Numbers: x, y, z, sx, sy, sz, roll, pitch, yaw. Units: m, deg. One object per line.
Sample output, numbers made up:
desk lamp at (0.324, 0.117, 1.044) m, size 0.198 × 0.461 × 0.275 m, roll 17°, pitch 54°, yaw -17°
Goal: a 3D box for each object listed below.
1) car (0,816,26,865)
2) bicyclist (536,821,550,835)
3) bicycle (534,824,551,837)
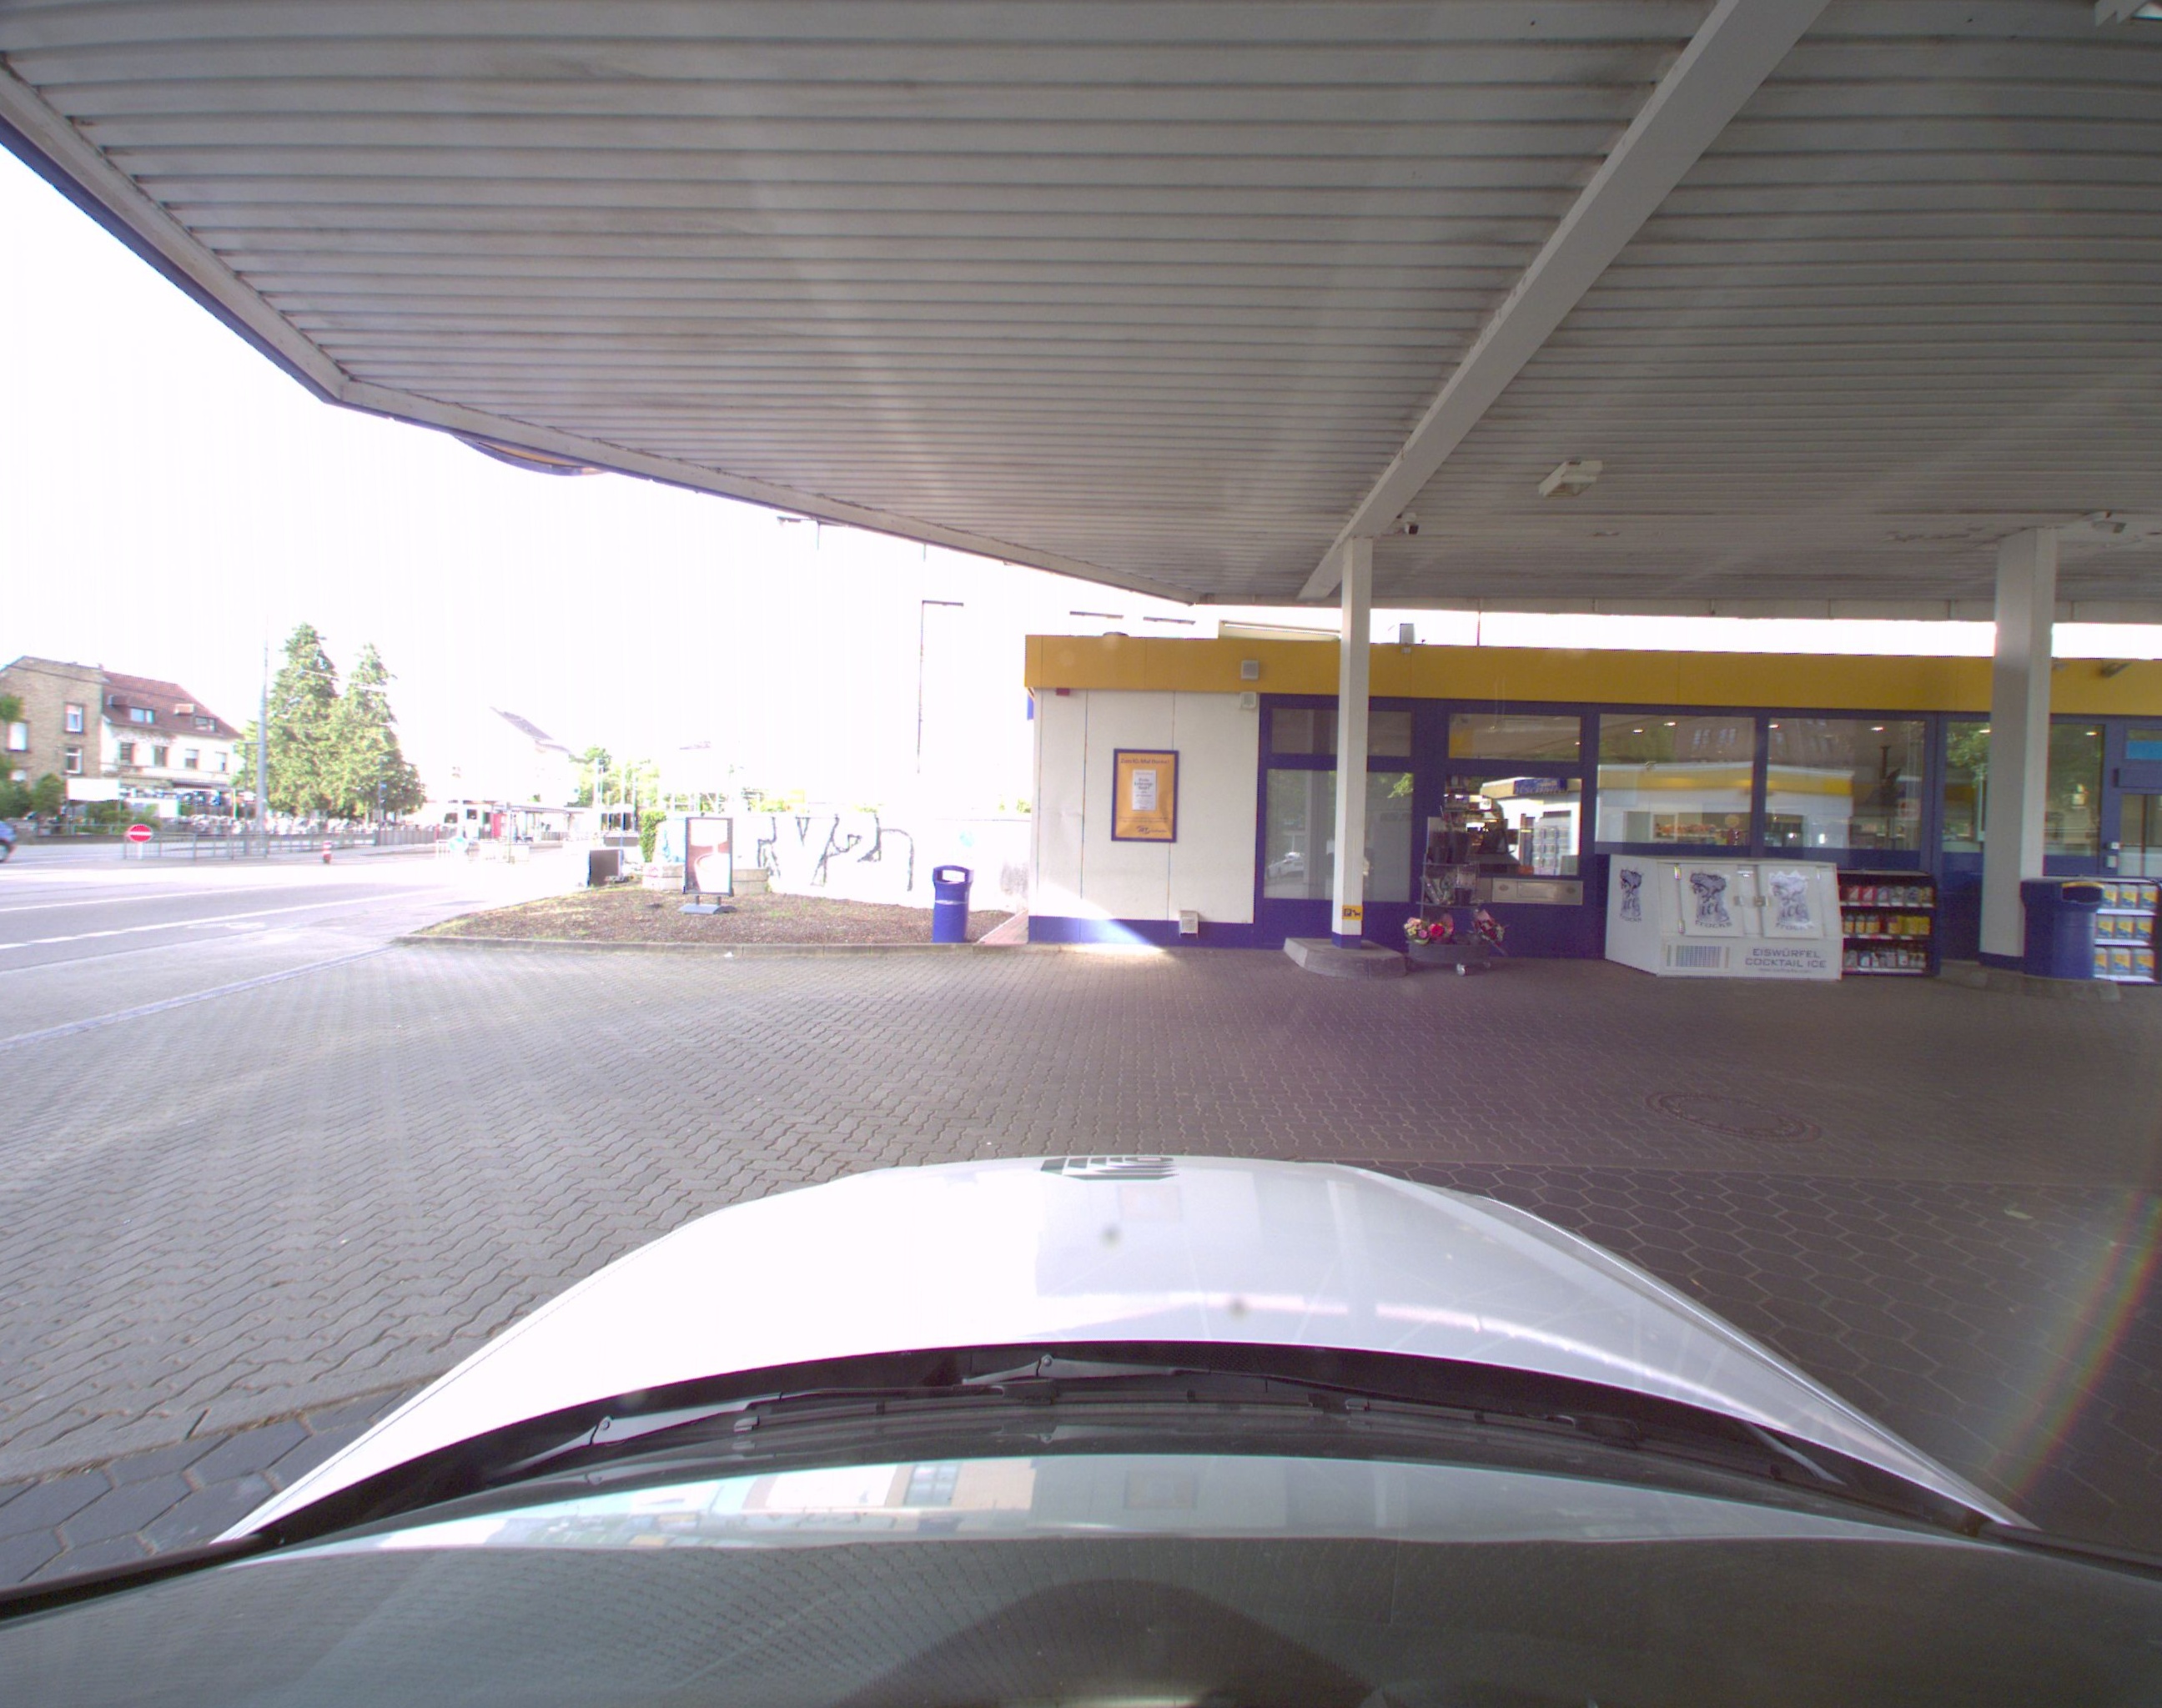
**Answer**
car at (-33.093, -0.380, 23.201) m, size 1.865 × 1.469 × 4.109 m, roll 1°, pitch 1°, yaw -22°
bicyclist at (-54.372, -2.609, 82.311) m, size 0.750 × 1.409 × 0.917 m, roll 5°, pitch 0°, yaw -13°
bicycle at (-54.381, -2.345, 82.267) m, size 0.750 × 1.203 × 1.813 m, roll 5°, pitch 0°, yaw -13°
